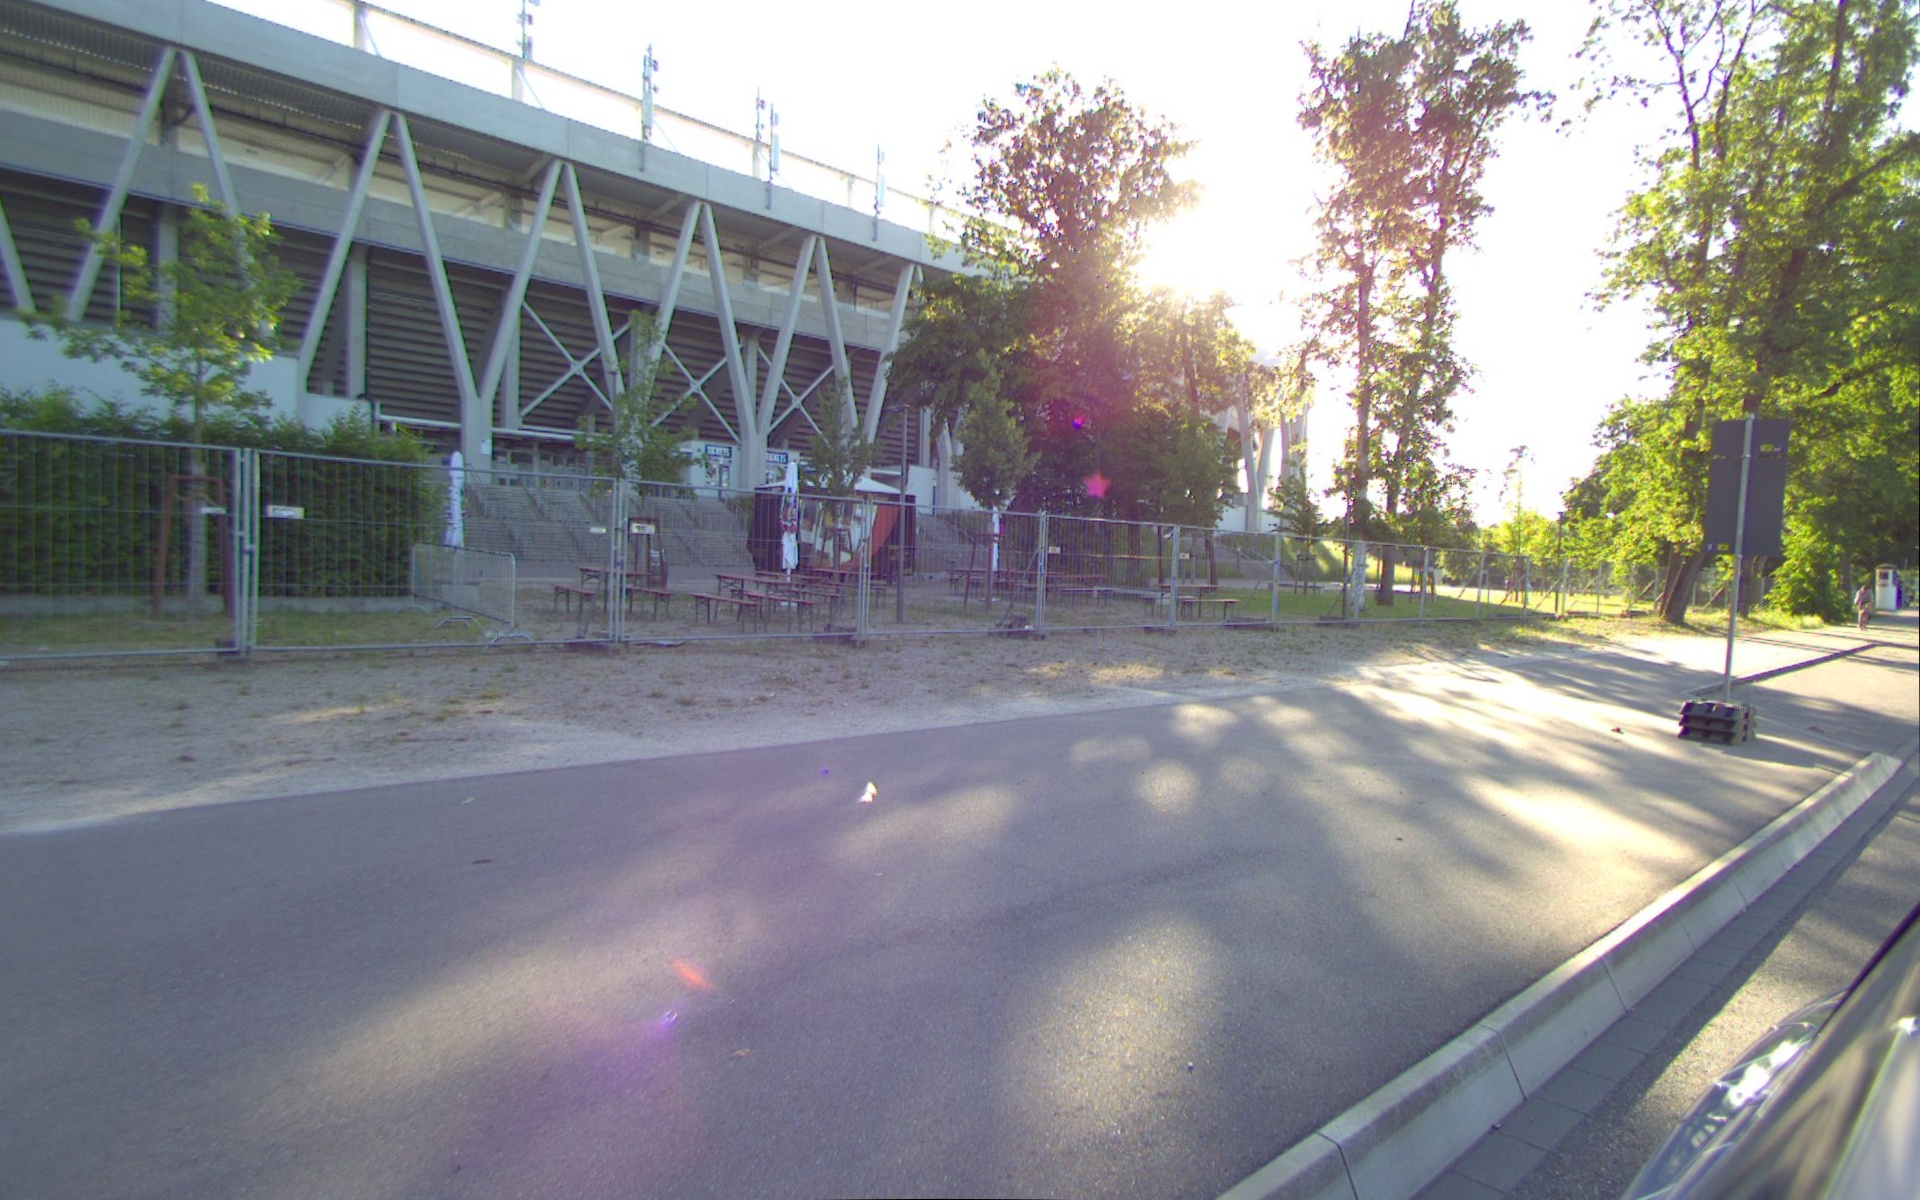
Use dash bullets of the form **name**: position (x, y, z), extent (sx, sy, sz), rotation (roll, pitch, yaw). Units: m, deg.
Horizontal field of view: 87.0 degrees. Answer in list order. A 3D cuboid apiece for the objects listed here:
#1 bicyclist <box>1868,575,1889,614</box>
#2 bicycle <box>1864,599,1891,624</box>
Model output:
- **bicyclist**: position (33.836, -0.211, 37.280), extent (0.565, 1.438, 0.451), rotation (0, 2, -40)
- **bicycle**: position (33.849, 0.412, 37.322), extent (1.876, 0.869, 0.481), rotation (0, 2, -41)
